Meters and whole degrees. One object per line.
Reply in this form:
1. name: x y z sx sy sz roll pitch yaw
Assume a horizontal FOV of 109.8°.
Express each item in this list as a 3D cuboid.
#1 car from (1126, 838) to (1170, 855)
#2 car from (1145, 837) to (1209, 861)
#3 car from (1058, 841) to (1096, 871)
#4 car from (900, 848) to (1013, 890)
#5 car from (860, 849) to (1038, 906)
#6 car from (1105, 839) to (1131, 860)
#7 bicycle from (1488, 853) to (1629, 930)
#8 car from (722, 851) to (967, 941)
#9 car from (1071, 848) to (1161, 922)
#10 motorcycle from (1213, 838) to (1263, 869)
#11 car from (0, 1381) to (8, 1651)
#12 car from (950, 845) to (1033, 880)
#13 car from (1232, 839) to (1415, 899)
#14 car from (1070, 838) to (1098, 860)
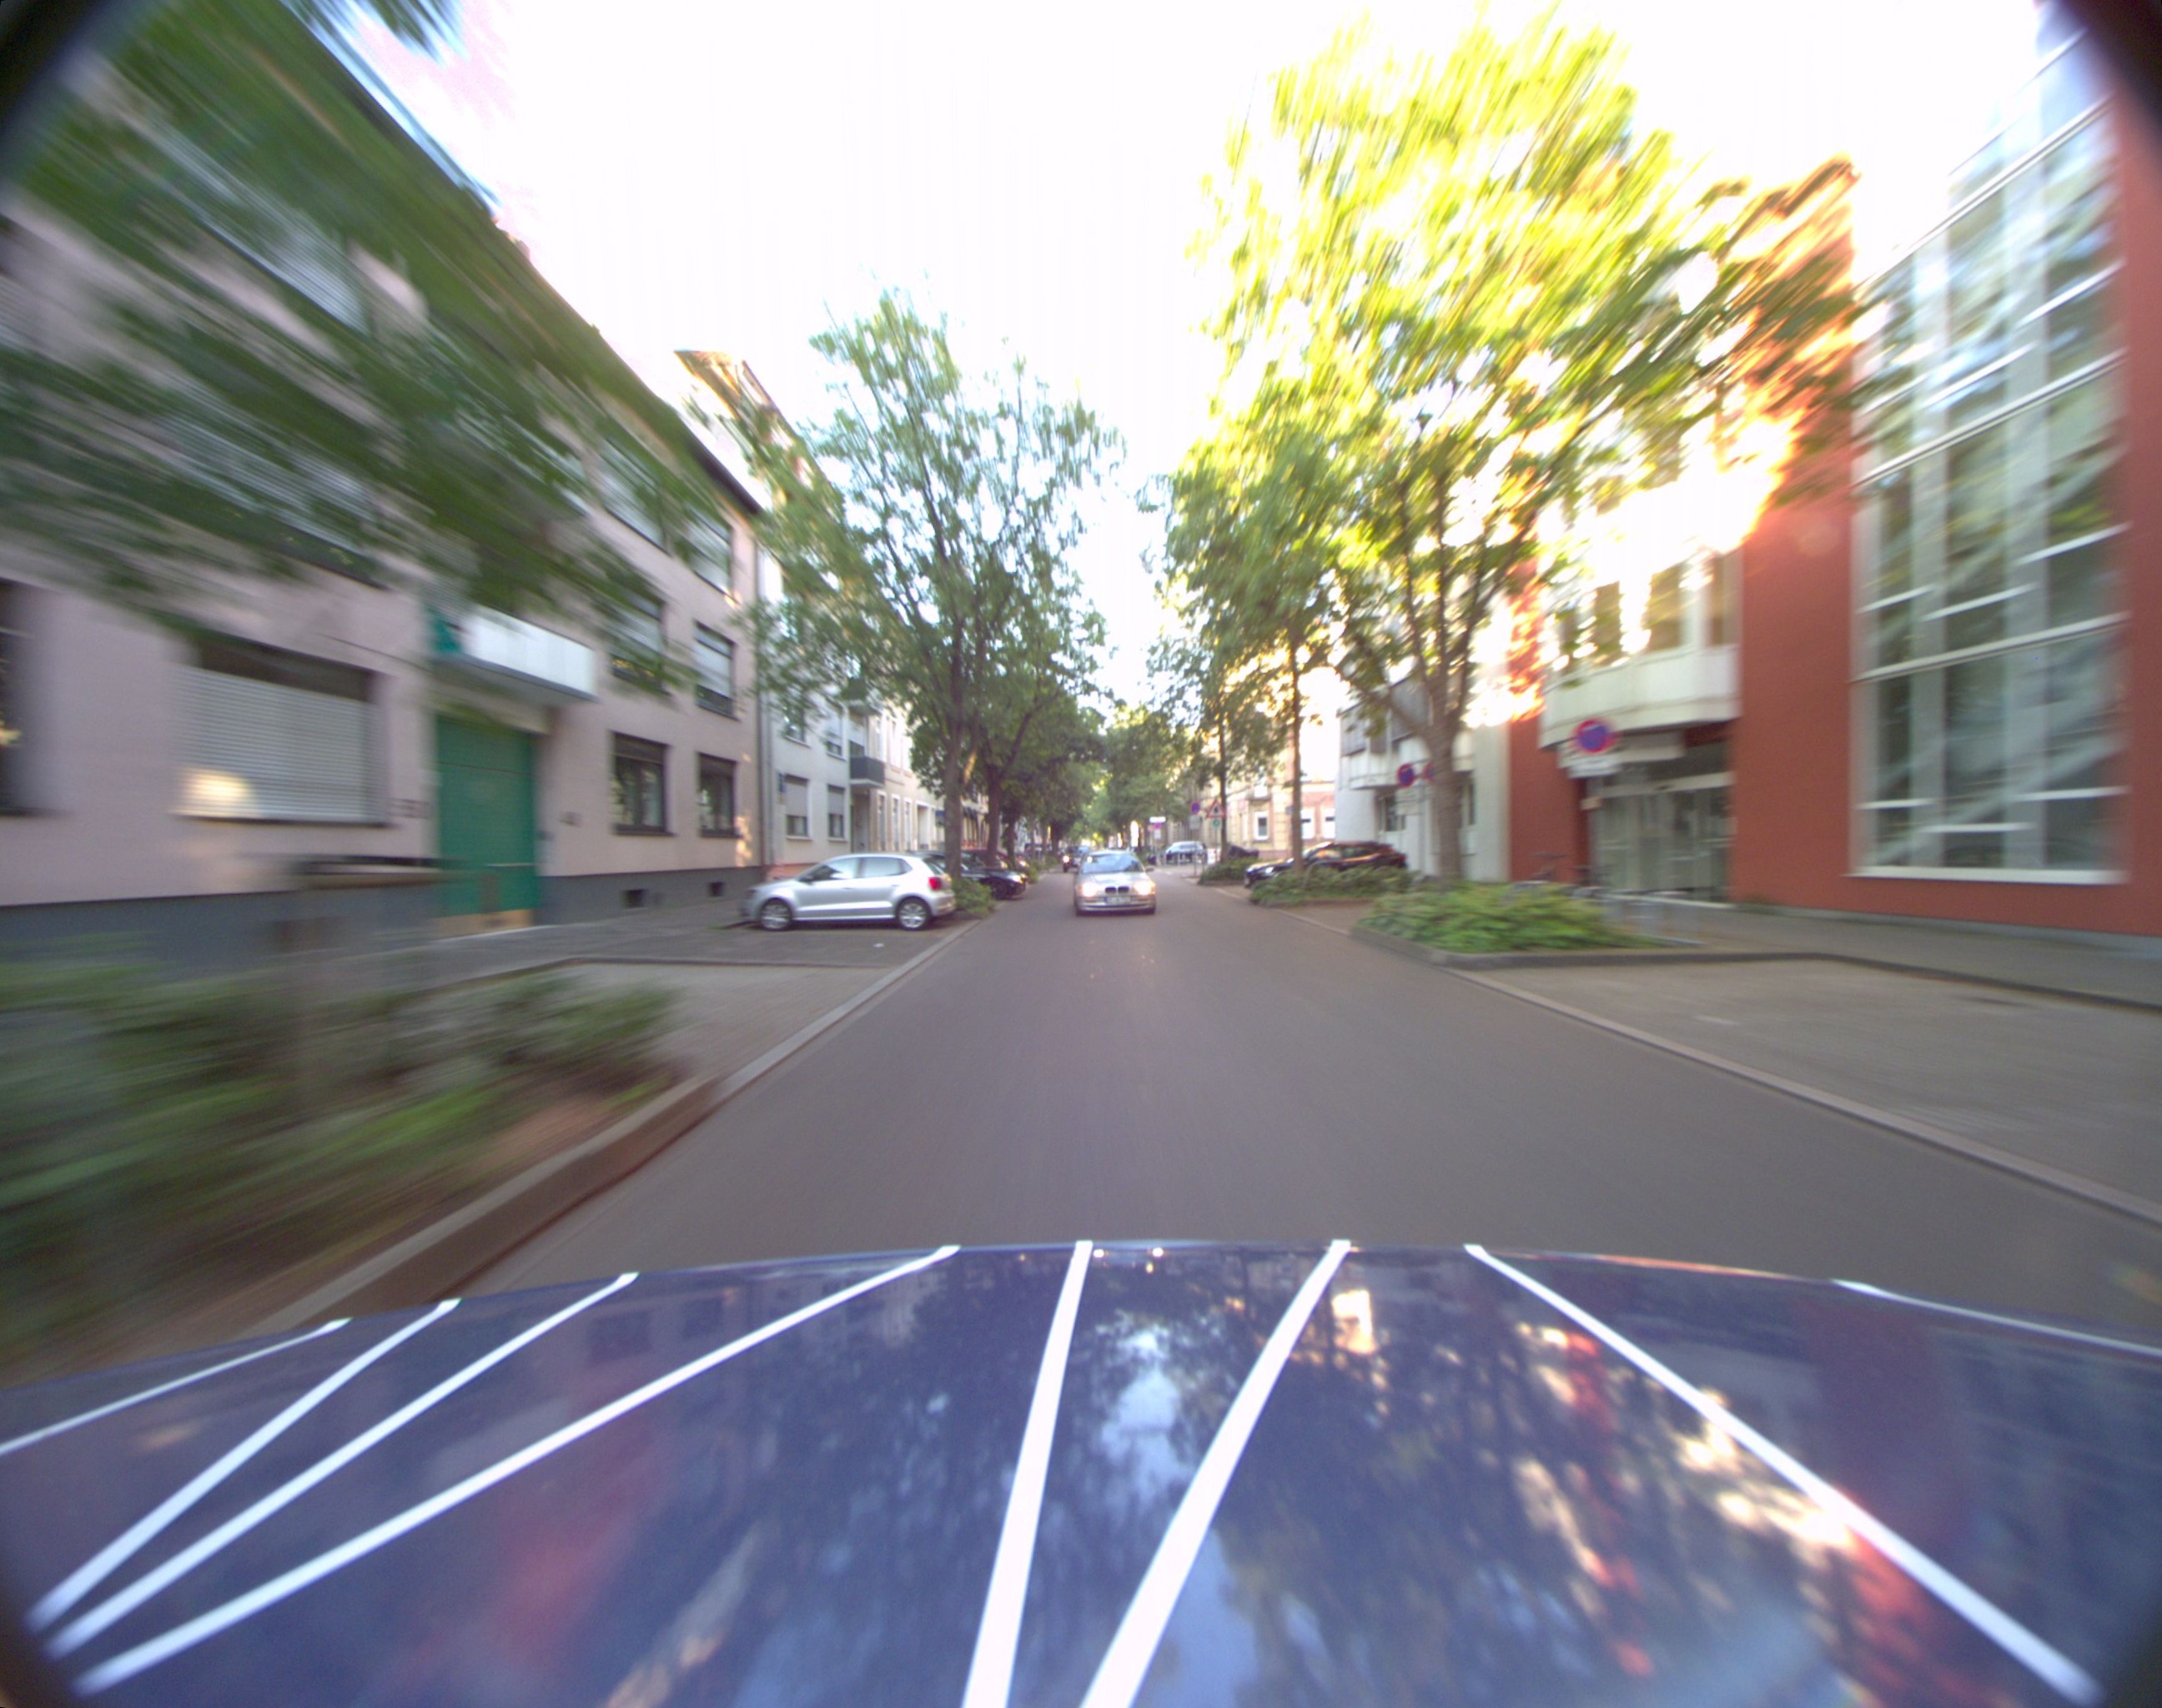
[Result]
1. car: 7.060 -0.832 80.242 4.529 1.706 2.000 -1 1 1
2. car: 7.076 -0.381 56.177 4.601 1.725 2.141 -1 1 5
3. car: -0.190 0.086 45.221 1.892 1.636 4.000 -2 1 5
4. car: -4.390 0.511 27.317 3.846 1.403 1.712 0 1 -4
5. car: -3.785 0.648 22.466 4.886 1.488 1.987 -1 1 1
6. car: 3.026 -0.405 63.036 1.787 1.679 4.384 -1 1 -2
7. bicycle: 7.794 0.595 12.432 1.964 1.170 0.655 -1 2 -6
8. car: -4.353 0.745 14.497 4.093 1.482 1.797 -1 1 -2
9. car: 0.716 0.584 17.037 1.736 1.363 4.331 -1 1 1
10. motorcycle: 7.634 -0.050 36.918 2.234 1.461 0.900 -1 2 -22
11. car: -4.727 0.923 0.676 4.851 1.440 2.042 1 2 3
12. car: -4.180 0.379 36.000 3.731 1.544 1.754 -1 1 -2
13. car: 6.656 0.374 21.194 4.520 1.517 1.871 -1 1 0
14. car: 0.266 -0.451 62.710 1.915 1.679 3.971 -1 1 6
